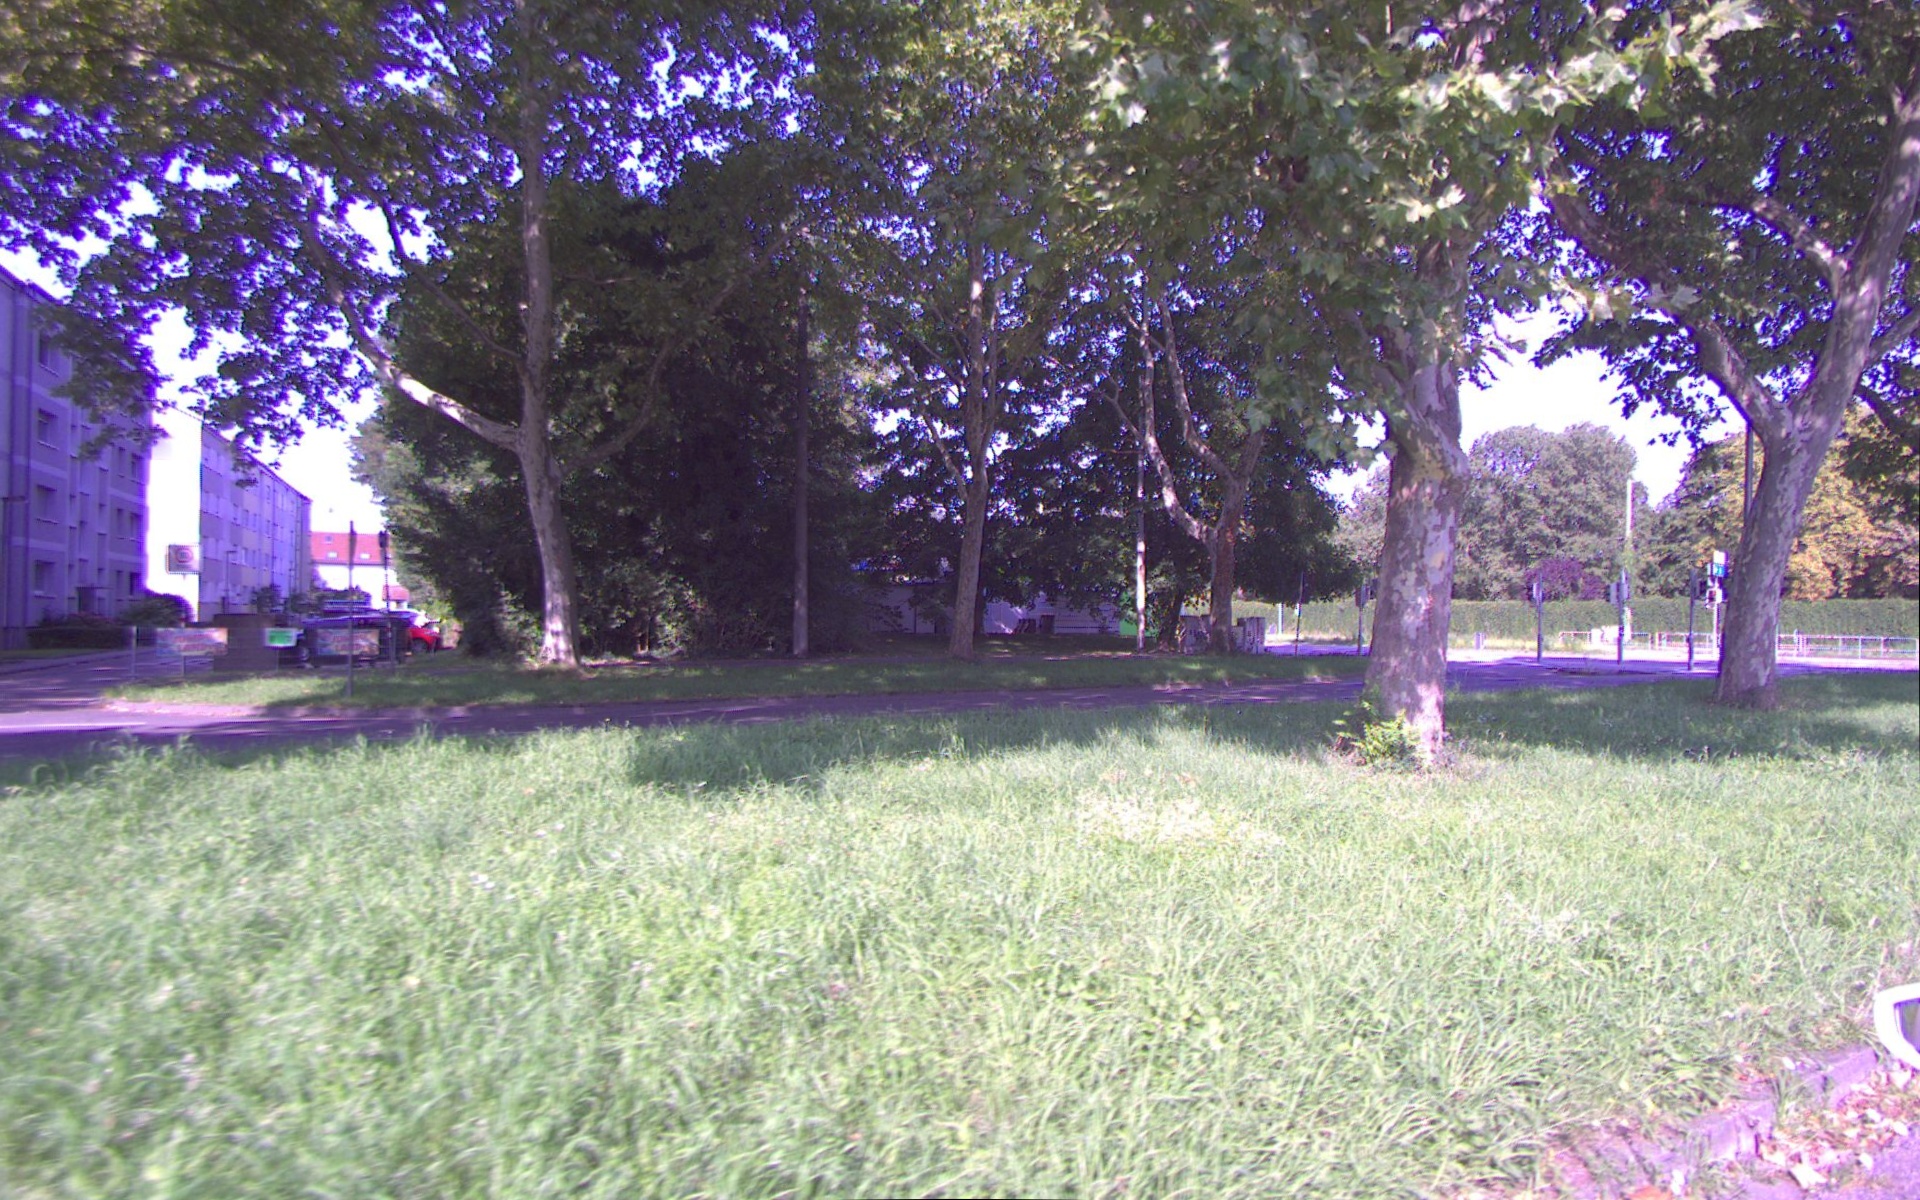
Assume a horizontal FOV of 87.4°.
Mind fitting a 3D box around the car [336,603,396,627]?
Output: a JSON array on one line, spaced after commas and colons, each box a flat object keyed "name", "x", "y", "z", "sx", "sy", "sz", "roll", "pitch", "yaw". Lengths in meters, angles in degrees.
[{"name": "car", "x": -47.298, "y": 1.196, "z": 80.034, "sx": 3.950, "sy": 1.744, "sz": 1.686, "roll": 3, "pitch": -1, "yaw": -28}]

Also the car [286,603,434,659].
[{"name": "car", "x": -19.563, "y": 1.017, "z": 32.957, "sx": 3.946, "sy": 1.749, "sz": 1.692, "roll": 1, "pitch": 0, "yaw": -25}]

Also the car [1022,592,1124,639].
[{"name": "car", "x": 5.515, "y": 0.778, "z": 48.816, "sx": 4.663, "sy": 2.165, "sz": 2.164, "roll": 1, "pitch": -1, "yaw": -35}]

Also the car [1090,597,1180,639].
[{"name": "car", "x": 9.880, "y": 1.039, "z": 56.660, "sx": 5.071, "sy": 2.293, "sz": 2.017, "roll": 2, "pitch": -1, "yaw": -35}]

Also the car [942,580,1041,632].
[{"name": "car", "x": 1.620, "y": 0.330, "z": 50.676, "sx": 4.663, "sy": 2.472, "sz": 2.164, "roll": 1, "pitch": -1, "yaw": -35}]

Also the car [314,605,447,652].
[{"name": "car", "x": -20.780, "y": 1.027, "z": 36.196, "sx": 3.946, "sy": 1.588, "sz": 1.692, "roll": 1, "pitch": -1, "yaw": -25}]

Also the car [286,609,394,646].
[{"name": "car", "x": -27.918, "y": 1.249, "z": 45.387, "sx": 3.946, "sy": 1.588, "sz": 1.692, "roll": 1, "pitch": -1, "yaw": -25}]

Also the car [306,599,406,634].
[{"name": "car", "x": -29.138, "y": 0.803, "z": 48.583, "sx": 3.946, "sy": 1.588, "sz": 1.692, "roll": 1, "pitch": -1, "yaw": -25}]

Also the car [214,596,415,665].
[{"name": "car", "x": -17.321, "y": 0.821, "z": 27.222, "sx": 4.329, "sy": 1.749, "sz": 1.692, "roll": 1, "pitch": 0, "yaw": -25}]
